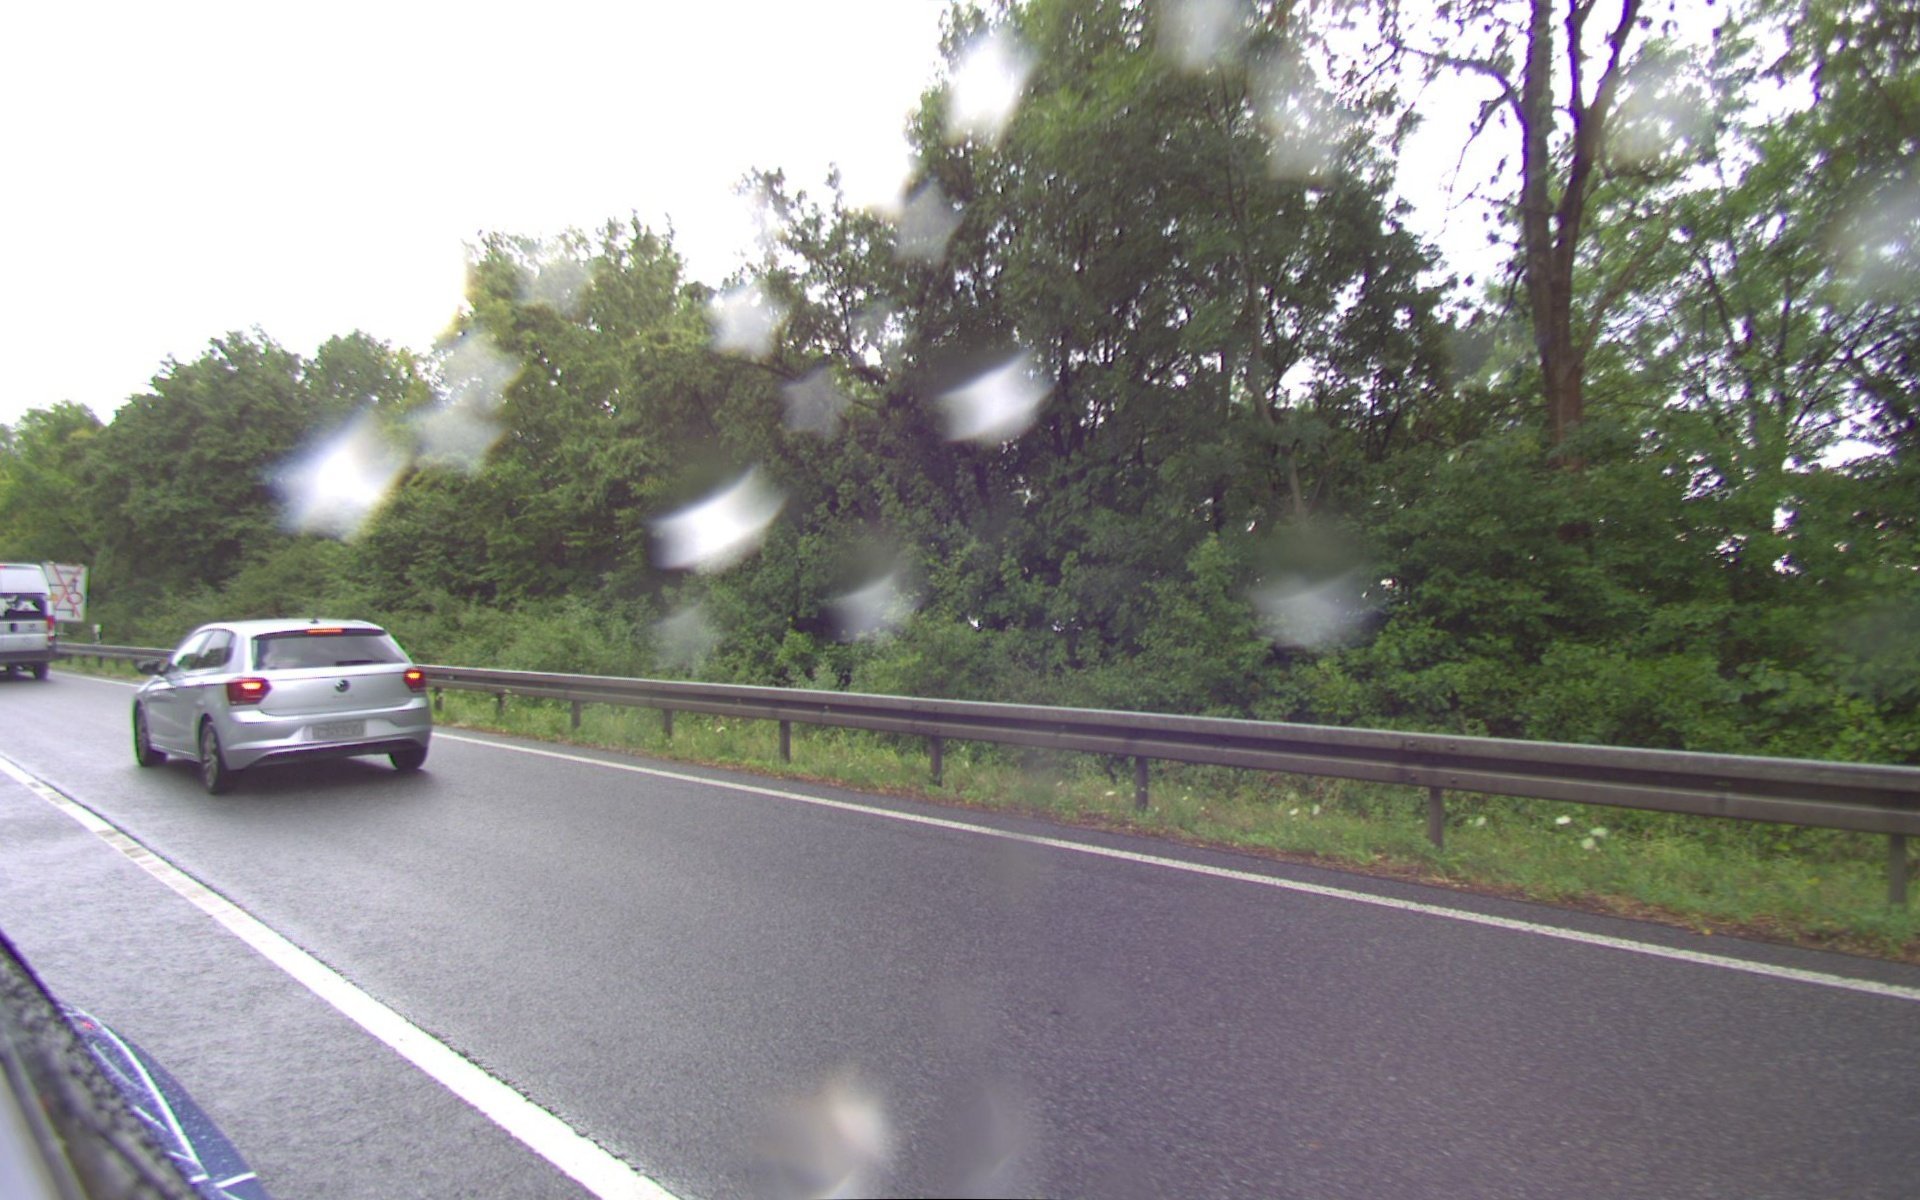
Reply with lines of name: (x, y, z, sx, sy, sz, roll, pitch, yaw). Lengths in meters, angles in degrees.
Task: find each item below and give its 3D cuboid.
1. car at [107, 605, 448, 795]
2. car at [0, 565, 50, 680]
car: (-6.640, 0.789, 9.707, 3.846, 1.442, 1.711, -1, 0, 40)
car: (-24.967, 0.555, 25.678, 6.168, 2.697, 2.026, 0, 0, 41)
